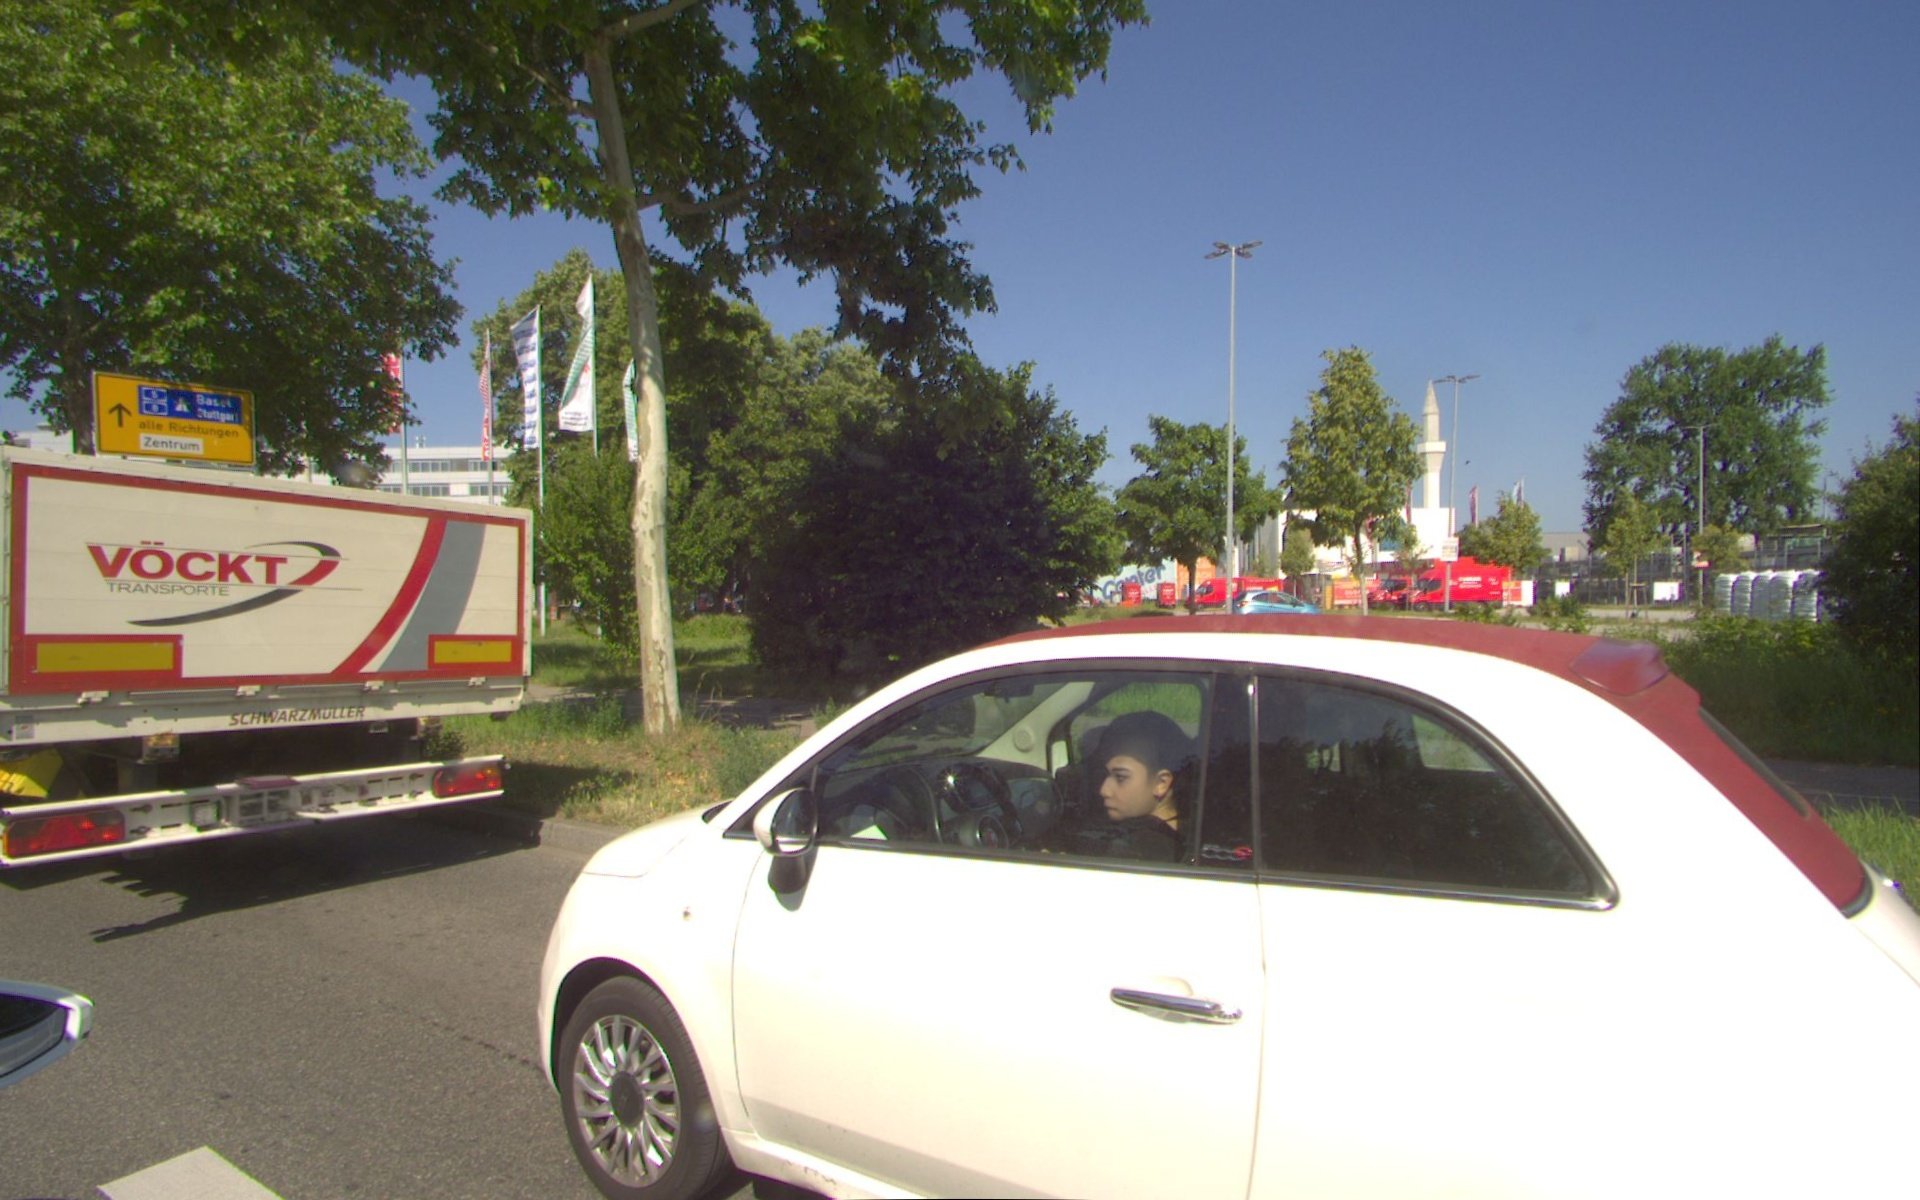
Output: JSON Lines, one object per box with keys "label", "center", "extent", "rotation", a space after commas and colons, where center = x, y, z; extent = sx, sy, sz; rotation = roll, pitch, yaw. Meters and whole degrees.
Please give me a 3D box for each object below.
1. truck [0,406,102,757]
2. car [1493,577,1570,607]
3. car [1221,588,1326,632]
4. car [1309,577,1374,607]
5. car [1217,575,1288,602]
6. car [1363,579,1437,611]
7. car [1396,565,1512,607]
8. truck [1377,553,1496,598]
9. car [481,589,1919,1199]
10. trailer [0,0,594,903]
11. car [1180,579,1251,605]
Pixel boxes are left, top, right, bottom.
{"label": "truck", "center": [-13.857, -0.148, 12.282], "extent": [7.370, 3.806, 3.066], "rotation": [-1, -1, 32]}
{"label": "car", "center": [40.609, -0.522, 71.207], "extent": [4.304, 2.040, 2.000], "rotation": [0, -1, -2]}
{"label": "car", "center": [11.822, 0.399, 37.925], "extent": [3.387, 1.591, 1.745], "rotation": [0, -1, -2]}
{"label": "car", "center": [27.649, -0.564, 72.620], "extent": [3.922, 2.040, 2.000], "rotation": [0, -1, 2]}
{"label": "car", "center": [22.097, -0.864, 75.689], "extent": [4.824, 1.906, 1.770], "rotation": [0, -1, 2]}
{"label": "car", "center": [27.678, -0.305, 63.077], "extent": [3.924, 1.884, 1.999], "rotation": [-1, -1, 11]}
{"label": "car", "center": [29.319, -0.833, 59.546], "extent": [5.823, 2.371, 2.115], "rotation": [0, -1, 2]}
{"label": "truck", "center": [35.833, -1.816, 75.414], "extent": [8.067, 3.290, 2.000], "rotation": [0, -1, -2]}
{"label": "car", "center": [0.527, 0.753, 2.544], "extent": [3.472, 1.455, 1.657], "rotation": [-1, -1, 35]}
{"label": "trailer", "center": [-8.186, -0.540, 8.484], "extent": [12.070, 3.789, 3.009], "rotation": [-1, -1, 34]}
{"label": "car", "center": [20.717, -0.643, 81.383], "extent": [5.188, 2.040, 2.000], "rotation": [0, -1, -4]}
